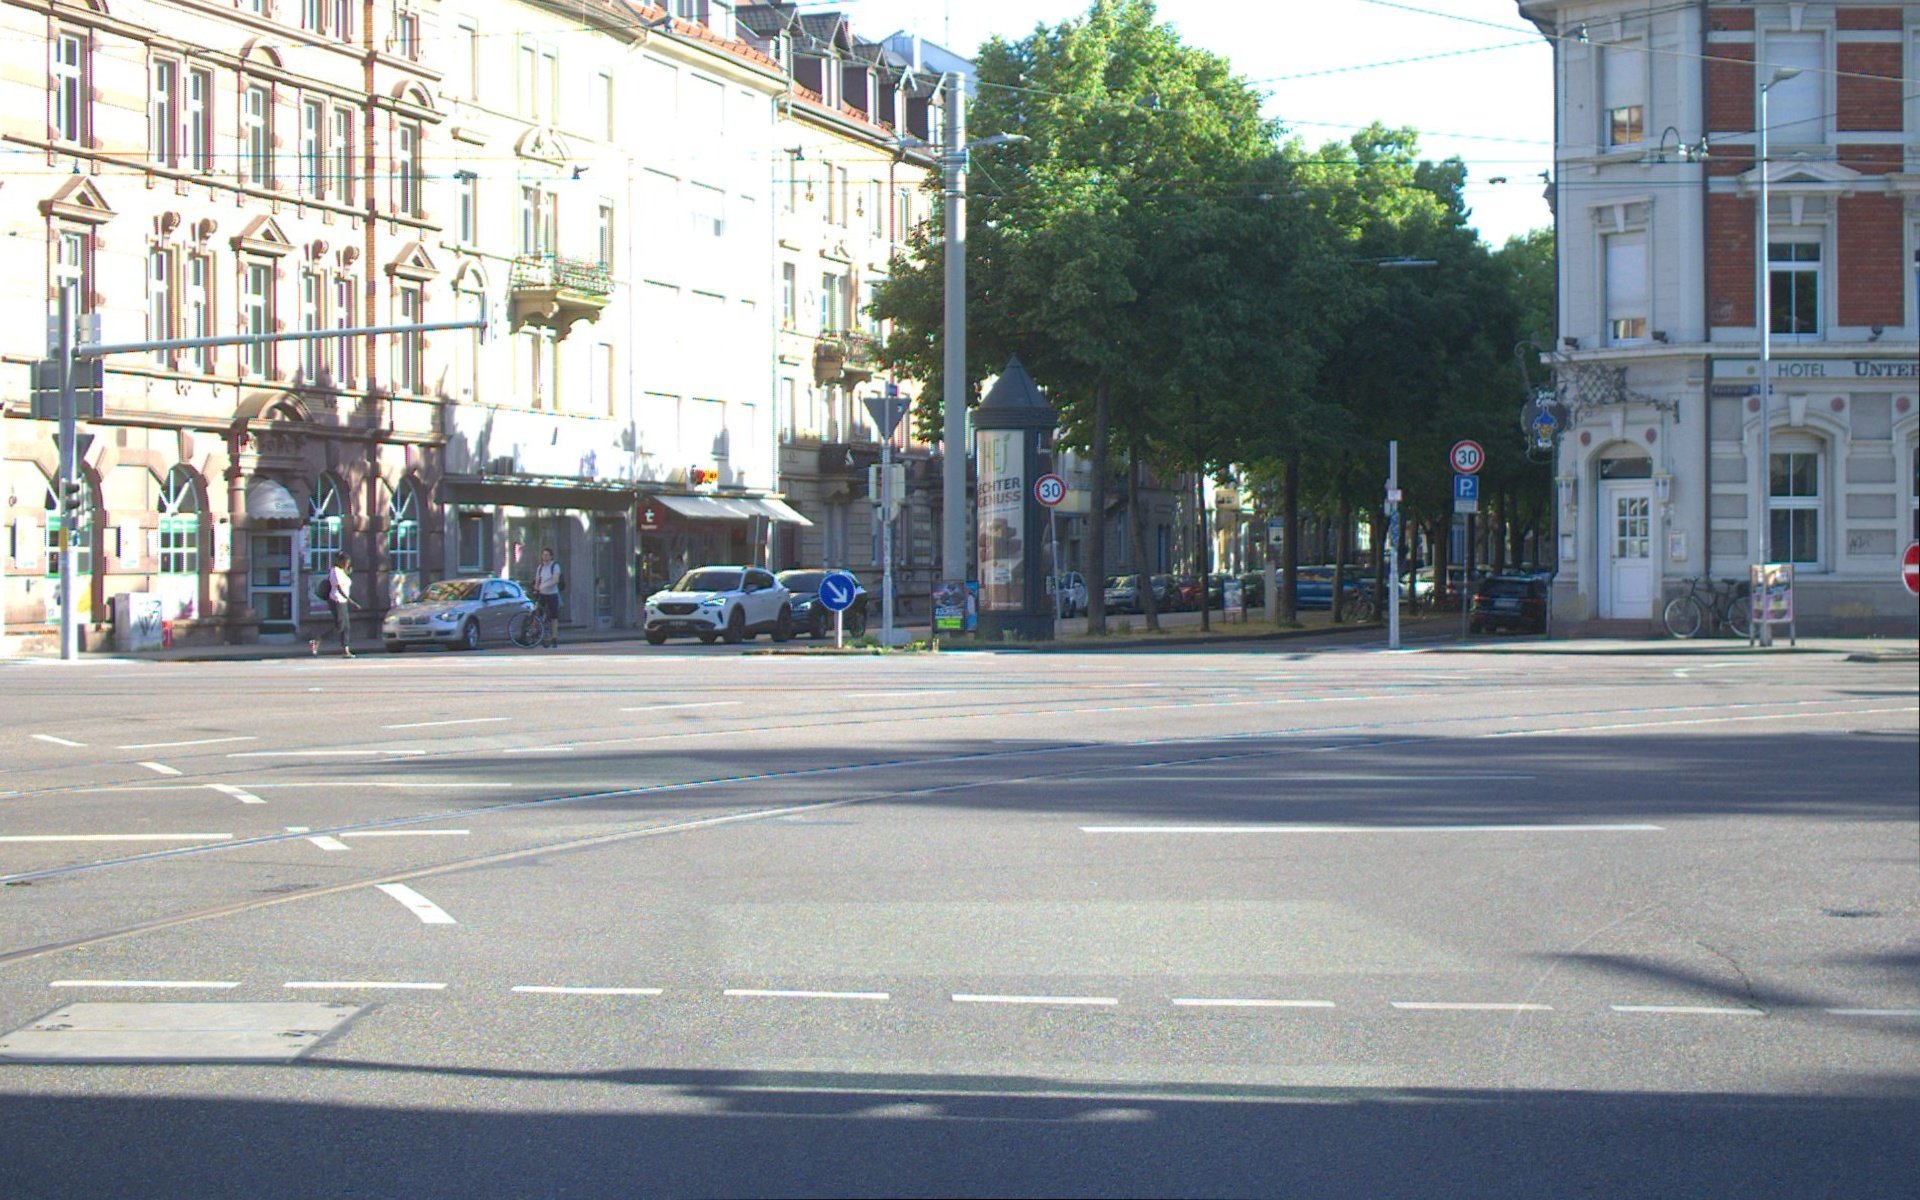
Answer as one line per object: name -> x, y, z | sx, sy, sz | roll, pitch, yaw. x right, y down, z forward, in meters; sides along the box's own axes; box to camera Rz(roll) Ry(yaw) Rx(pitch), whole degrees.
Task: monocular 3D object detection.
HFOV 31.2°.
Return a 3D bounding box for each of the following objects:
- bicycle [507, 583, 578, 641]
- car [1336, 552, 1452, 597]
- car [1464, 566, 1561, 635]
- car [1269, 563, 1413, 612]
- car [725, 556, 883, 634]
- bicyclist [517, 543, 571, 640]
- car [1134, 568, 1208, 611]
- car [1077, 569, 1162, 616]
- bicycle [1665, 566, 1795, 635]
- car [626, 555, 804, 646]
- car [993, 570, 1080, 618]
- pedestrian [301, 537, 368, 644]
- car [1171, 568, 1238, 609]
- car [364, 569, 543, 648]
bicycle -> -7.883, 0.217, 65.036 | 0.680, 1.062, 2.124 | 0, 1, 12
car -> 16.866, -1.002, 133.649 | 3.993, 1.700, 1.997 | 0, 1, 30
car -> 13.274, -0.007, 82.466 | 1.995, 1.579, 3.998 | 0, 1, 14
car -> 12.798, -0.431, 115.473 | 4.382, 1.606, 1.997 | 0, 1, 27
car -> -3.313, -0.134, 73.863 | 1.995, 1.606, 4.387 | 0, 1, 17
bicyclist -> -7.873, -0.163, 65.072 | 0.679, 1.814, 1.070 | 0, 1, 12
car -> 8.038, -0.408, 130.480 | 1.839, 1.547, 4.387 | 0, 1, 17
car -> 5.711, -0.290, 122.690 | 1.995, 1.607, 4.387 | 0, 1, 17
bicycle -> 12.862, 0.010, 57.415 | 2.085, 1.120, 0.367 | 1, 0, -4
car -> -4.758, -0.017, 67.350 | 1.995, 1.678, 4.387 | 0, 1, 17
car -> 2.492, -0.215, 110.988 | 1.995, 1.481, 3.998 | 0, 1, 14
pedestrian -> -10.249, -0.159, 56.305 | 1.046, 1.738, 0.809 | 0, 1, -13
car -> 9.704, -0.456, 136.357 | 1.766, 1.544, 4.387 | 0, 1, 16
car -> -9.847, 0.149, 67.075 | 1.900, 1.450, 3.997 | 0, 1, 17
